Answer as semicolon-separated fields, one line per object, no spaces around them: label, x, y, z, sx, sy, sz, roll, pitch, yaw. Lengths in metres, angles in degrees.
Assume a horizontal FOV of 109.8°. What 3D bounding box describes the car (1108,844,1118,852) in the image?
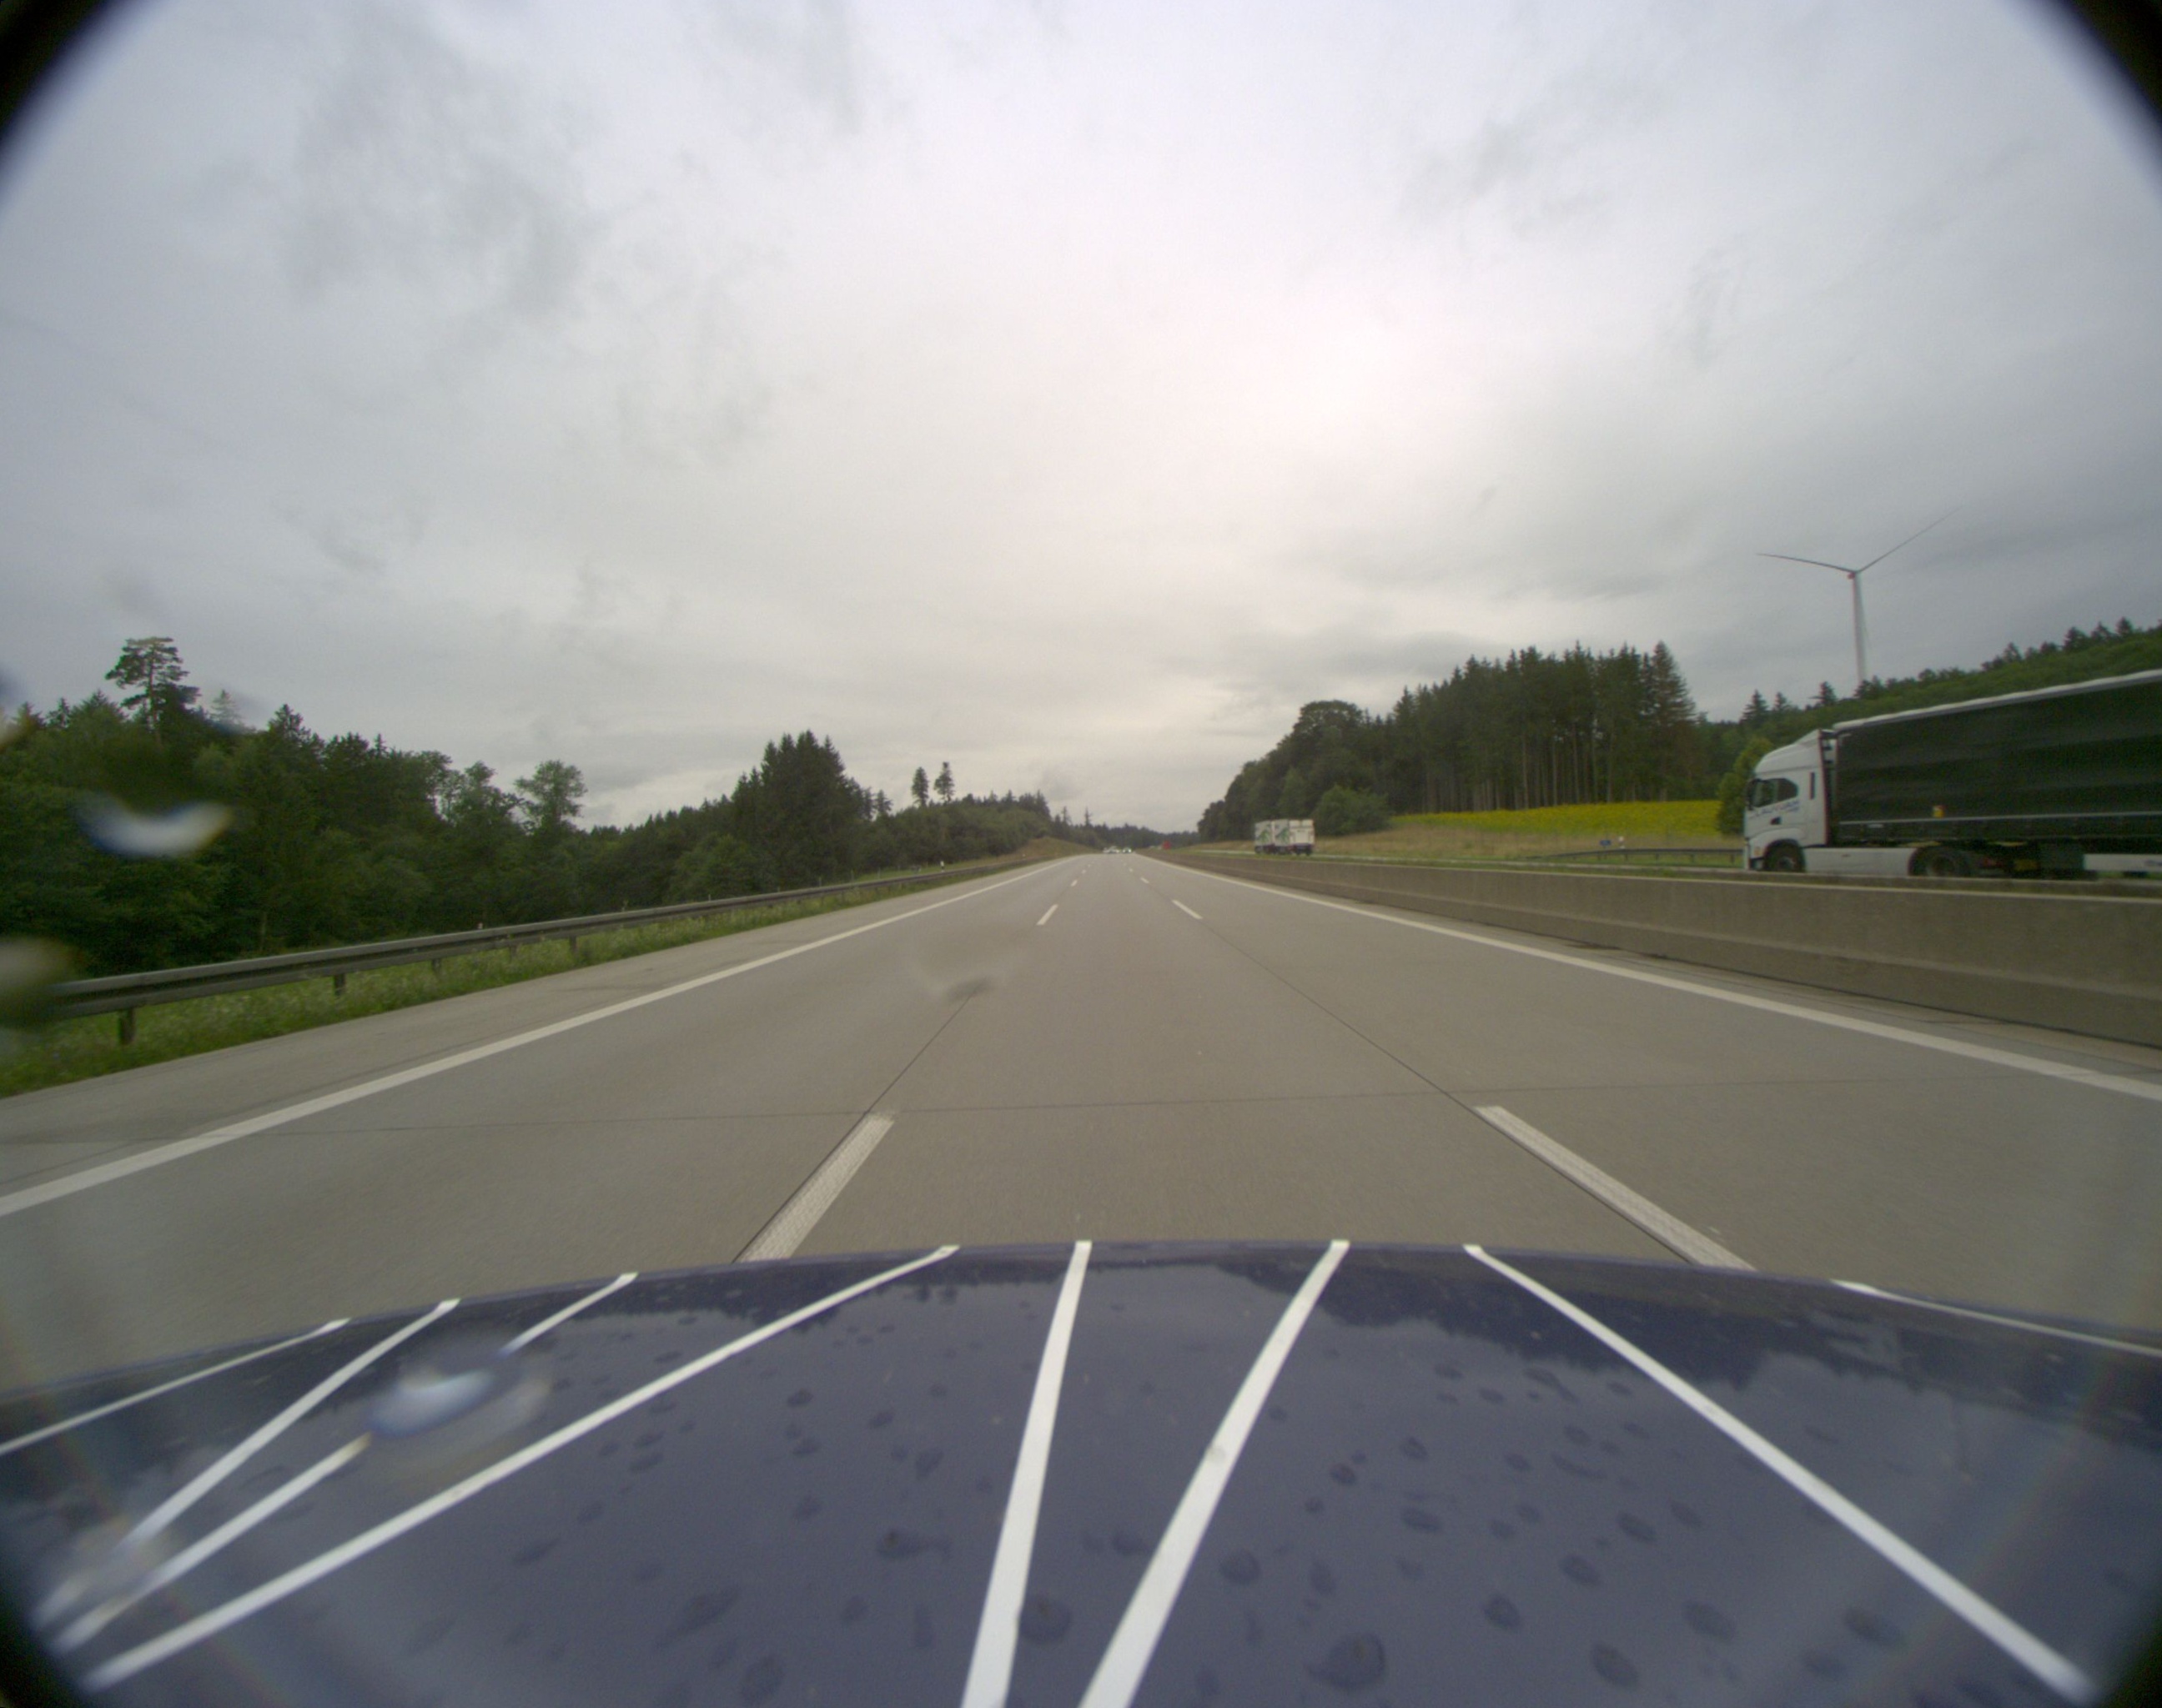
car;8.500;-1.610;200.961;2.213;2.002;4.834;-3;0;0

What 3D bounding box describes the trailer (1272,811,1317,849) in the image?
trailer;22.802;-2.470;81.486;2.825;3.761;7.716;-3;0;2

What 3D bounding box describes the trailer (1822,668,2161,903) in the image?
trailer;20.203;-1.235;12.063;3.243;4.029;14.130;-3;0;1

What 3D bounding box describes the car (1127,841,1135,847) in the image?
car;12.449;-2.474;188.671;1.766;1.455;4.002;-3;-1;2

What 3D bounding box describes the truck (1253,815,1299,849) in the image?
truck;23.189;-2.576;91.038;2.819;3.751;11.350;-3;1;2

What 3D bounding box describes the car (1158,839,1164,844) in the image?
car;27.772;-4.334;263.737;1.998;1.790;4.391;-3;1;2

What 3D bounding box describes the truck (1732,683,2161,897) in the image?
truck;20.363;-1.280;18.277;3.220;4.034;7.165;-3;1;1
